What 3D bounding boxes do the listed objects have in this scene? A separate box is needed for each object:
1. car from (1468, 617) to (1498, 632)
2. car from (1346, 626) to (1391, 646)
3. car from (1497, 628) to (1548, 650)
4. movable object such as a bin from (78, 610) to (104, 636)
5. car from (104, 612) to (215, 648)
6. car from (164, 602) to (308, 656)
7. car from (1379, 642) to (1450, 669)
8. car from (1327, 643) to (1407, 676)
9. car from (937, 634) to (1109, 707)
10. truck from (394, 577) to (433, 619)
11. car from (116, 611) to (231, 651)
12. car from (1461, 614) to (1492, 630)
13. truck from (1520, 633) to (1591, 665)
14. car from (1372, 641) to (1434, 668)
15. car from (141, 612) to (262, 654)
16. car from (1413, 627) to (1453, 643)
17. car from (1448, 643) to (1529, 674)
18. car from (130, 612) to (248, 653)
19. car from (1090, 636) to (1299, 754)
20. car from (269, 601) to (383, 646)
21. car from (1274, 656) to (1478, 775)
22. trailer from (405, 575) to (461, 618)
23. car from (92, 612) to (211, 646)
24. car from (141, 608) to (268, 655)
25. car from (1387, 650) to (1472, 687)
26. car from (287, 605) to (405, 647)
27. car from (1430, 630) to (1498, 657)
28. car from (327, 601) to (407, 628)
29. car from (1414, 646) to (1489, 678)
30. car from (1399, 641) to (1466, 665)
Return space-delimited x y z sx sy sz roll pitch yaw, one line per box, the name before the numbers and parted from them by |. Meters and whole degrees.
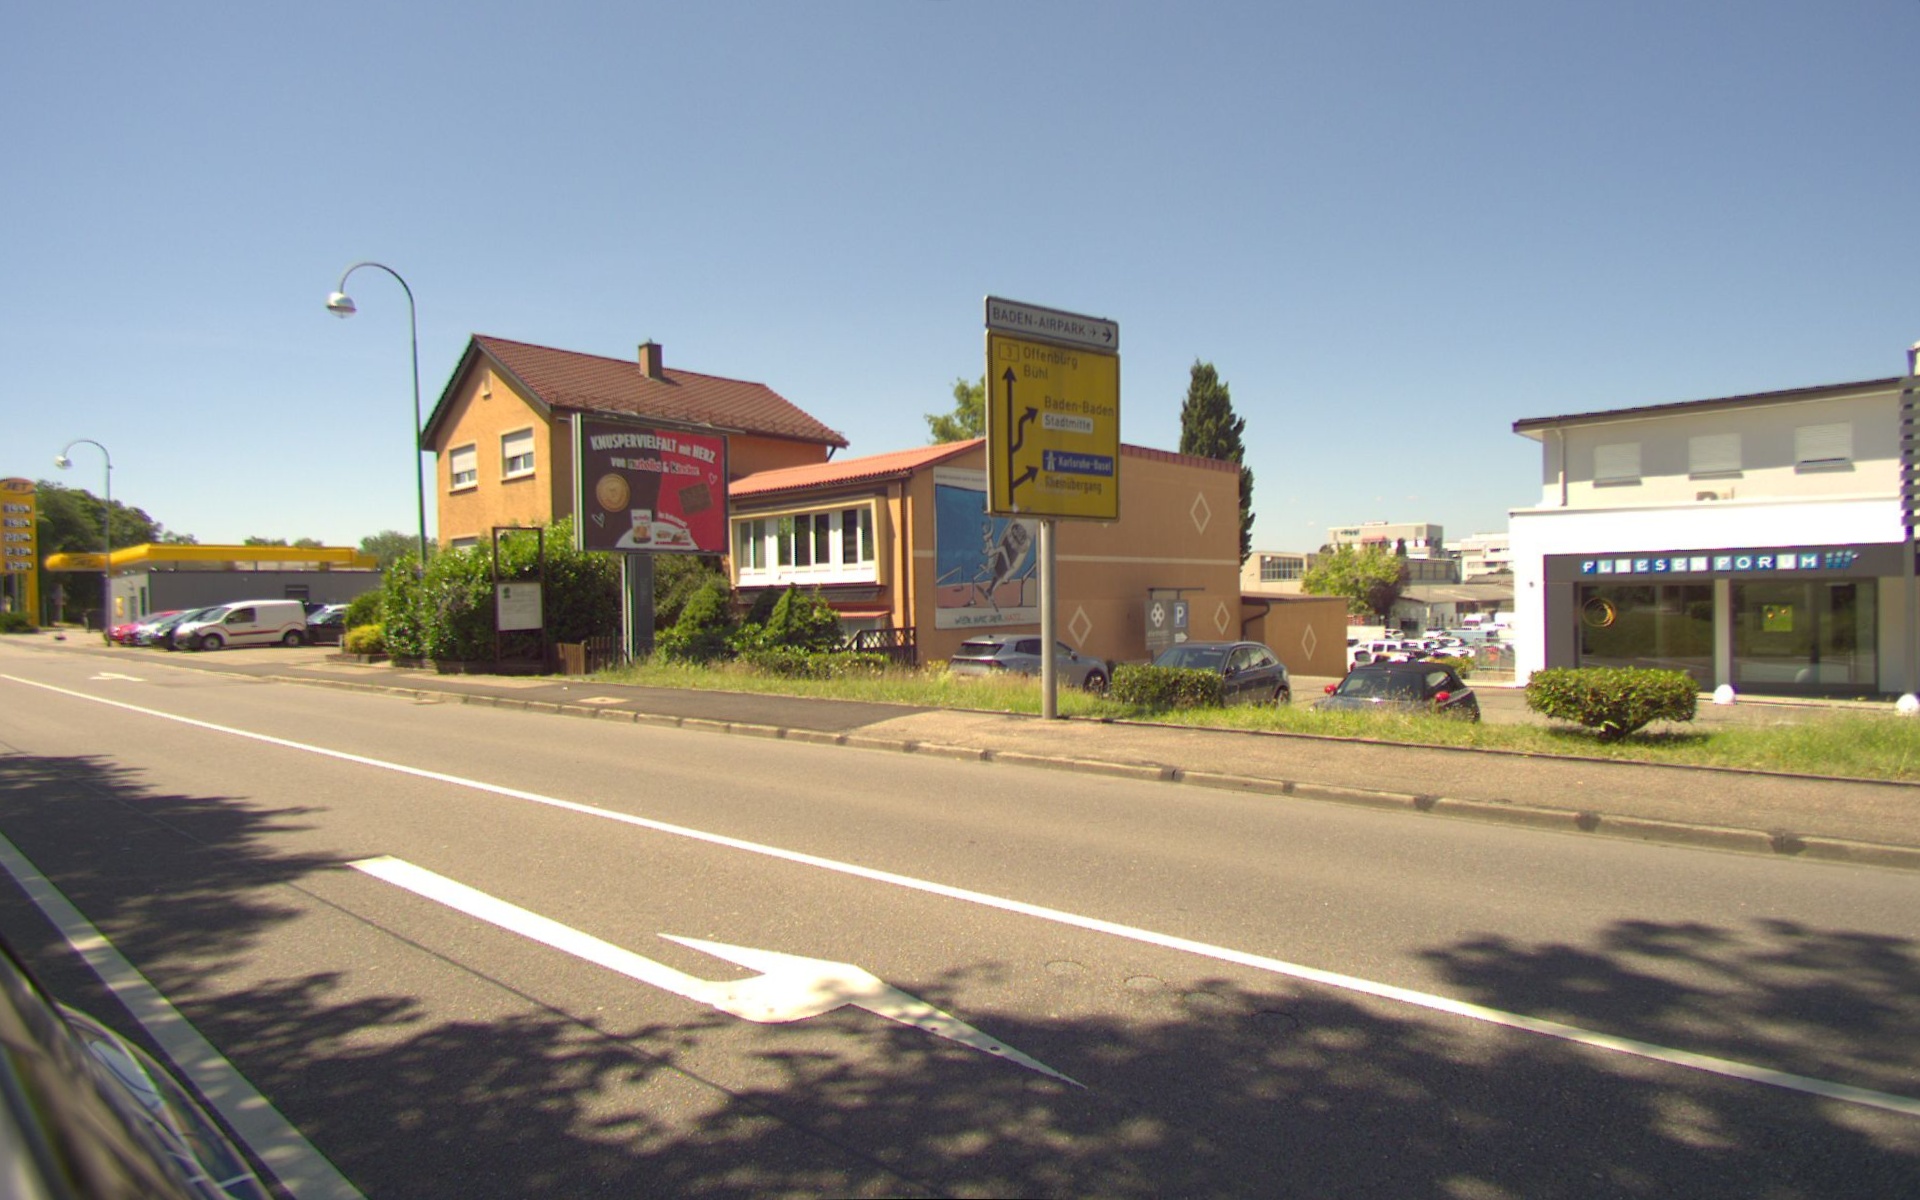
car | 58.683 2.743 113.584 2.000 1.608 3.943 -1 -1 43
car | 33.994 2.983 84.287 3.220 1.488 1.350 0 0 41
car | 42.188 2.902 75.938 3.125 1.545 1.663 0 0 41
movable object such as a bin | -54.588 1.427 63.558 1.427 1.528 0.942 -2 3 42
car | -36.117 1.333 45.717 1.890 1.468 3.628 0 0 38
car | -27.536 1.048 38.572 1.996 1.912 4.057 0 0 36
car | 30.725 3.707 68.451 3.998 1.617 1.813 0 0 41
car | 23.607 3.408 58.793 3.998 1.665 1.725 0 0 41
car | 1.529 1.564 23.549 3.979 1.462 1.781 0 -1 -43
truck | -44.312 -0.171 82.041 3.188 3.267 1.826 -2 -1 41
car | -34.209 1.309 44.088 1.879 1.617 3.628 0 0 38
car | 61.123 2.607 119.727 3.939 1.843 2.002 -1 0 -43
truck | 40.526 3.299 68.915 3.982 1.992 1.663 0 1 41
car | 28.264 3.450 64.554 3.320 1.558 1.509 0 0 41
car | -30.921 1.299 41.323 1.920 1.543 3.628 0 0 38
car | 44.850 3.349 96.039 3.125 1.395 1.663 0 0 41
car | 31.485 3.471 60.353 3.998 1.648 1.824 0 0 41
car | -32.562 1.325 42.804 1.920 1.593 3.628 0 0 38
car | 4.381 1.601 18.491 1.895 1.699 4.285 0 0 42
car | -28.013 1.005 44.772 1.998 1.875 3.864 -1 -1 39
car | 6.447 1.664 15.549 1.781 1.434 3.300 -1 -1 45
trailer | -41.425 -0.264 79.484 5.911 3.244 1.845 -1 -1 41
car | -37.842 1.332 47.449 1.825 1.455 4.084 0 0 40
car | -29.461 1.186 39.533 1.920 1.685 3.628 0 0 38
car | 25.047 3.619 54.078 3.816 1.740 1.729 0 0 41
car | -26.263 1.095 43.373 1.828 1.580 3.948 -1 1 39
car | 36.427 3.116 73.153 3.998 1.829 1.973 -1 -1 41
car | -36.851 0.893 62.978 1.754 1.596 3.944 0 0 42
car | 27.350 3.428 56.360 3.466 1.604 1.702 0 0 41
car | 33.548 3.747 71.936 3.998 1.486 1.733 0 0 41
